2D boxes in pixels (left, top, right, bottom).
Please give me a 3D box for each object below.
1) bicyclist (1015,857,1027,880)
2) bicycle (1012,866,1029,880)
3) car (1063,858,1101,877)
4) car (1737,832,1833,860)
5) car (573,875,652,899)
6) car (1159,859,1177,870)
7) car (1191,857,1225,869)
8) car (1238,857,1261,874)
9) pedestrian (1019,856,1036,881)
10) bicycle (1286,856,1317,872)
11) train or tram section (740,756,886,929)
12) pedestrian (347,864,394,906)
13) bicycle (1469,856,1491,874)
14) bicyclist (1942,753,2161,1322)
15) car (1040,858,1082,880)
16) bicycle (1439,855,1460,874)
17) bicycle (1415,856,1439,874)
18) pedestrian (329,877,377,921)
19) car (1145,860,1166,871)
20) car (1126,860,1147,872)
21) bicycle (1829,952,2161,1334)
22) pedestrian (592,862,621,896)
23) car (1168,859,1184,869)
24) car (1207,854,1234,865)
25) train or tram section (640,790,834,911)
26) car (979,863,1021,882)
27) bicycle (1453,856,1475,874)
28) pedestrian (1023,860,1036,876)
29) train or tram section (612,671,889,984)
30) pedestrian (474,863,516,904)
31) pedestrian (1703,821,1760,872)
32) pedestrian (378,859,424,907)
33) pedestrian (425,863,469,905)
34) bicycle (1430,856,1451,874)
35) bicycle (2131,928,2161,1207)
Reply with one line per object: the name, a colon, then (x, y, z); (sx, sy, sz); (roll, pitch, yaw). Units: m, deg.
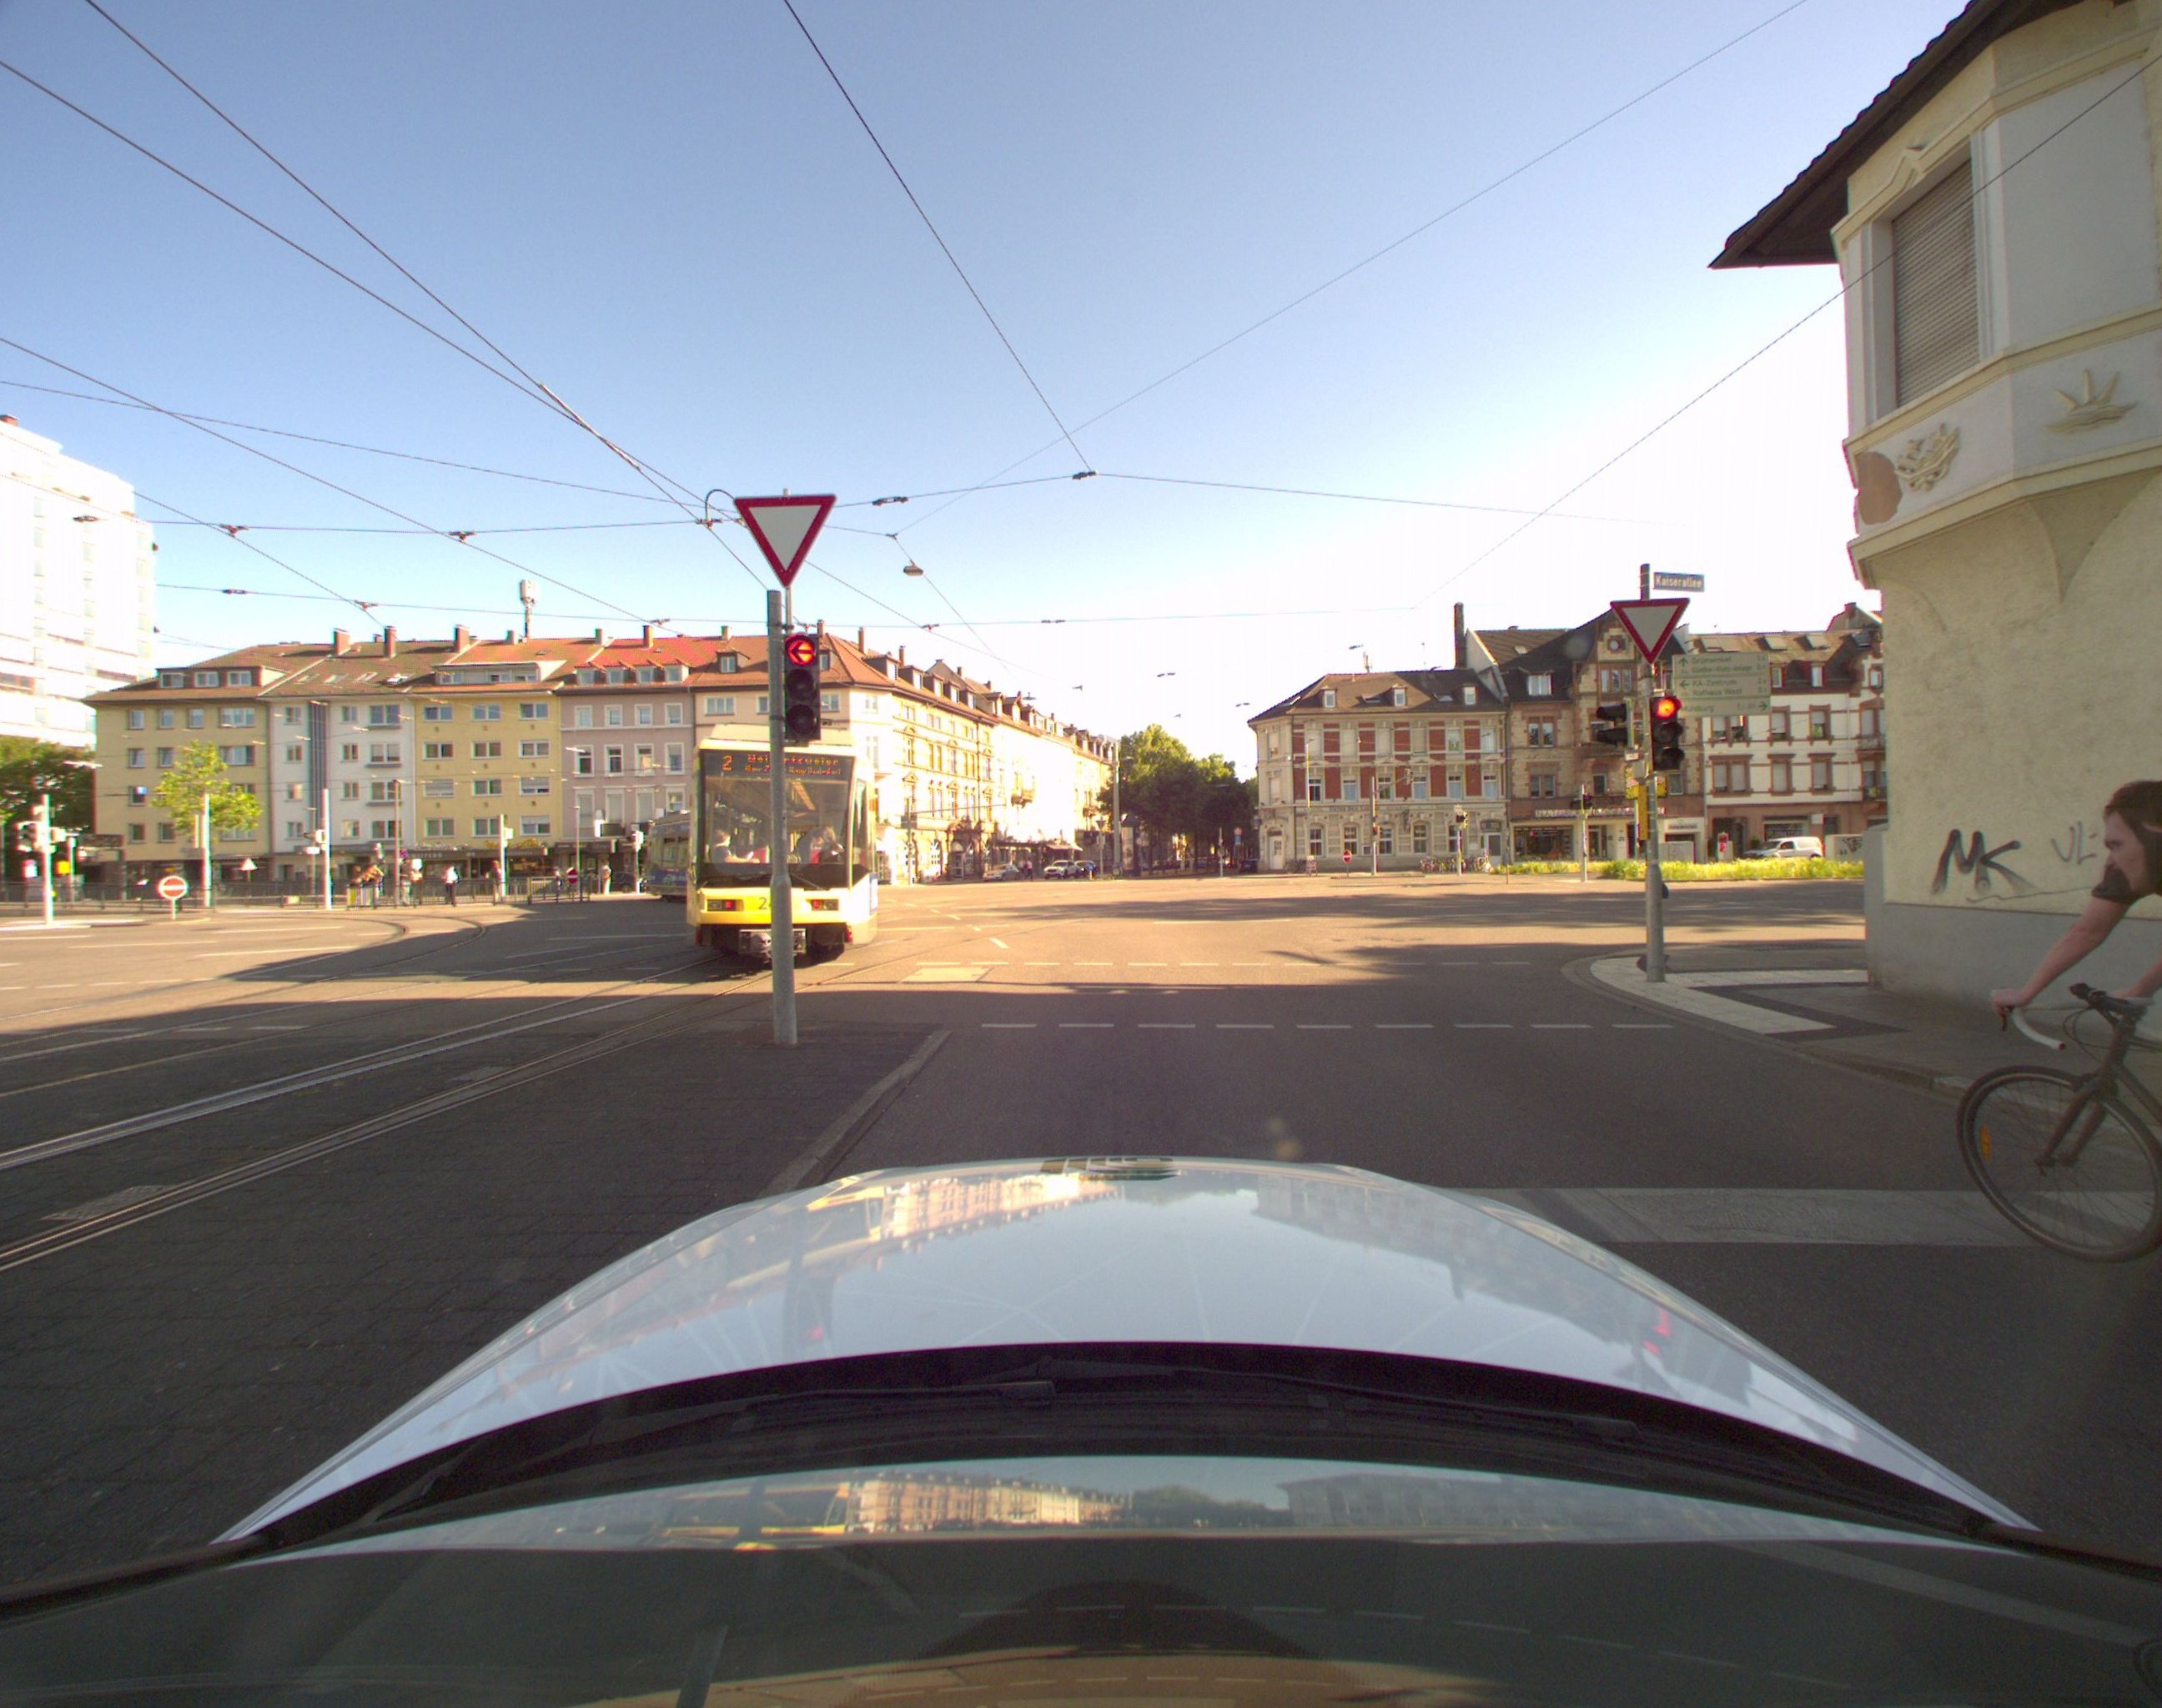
bicyclist: (-4.809, 1.132, 65.329); (0.674, 1.820, 1.075); (-2, 0, 14)
bicycle: (-4.813, 1.512, 65.286); (0.675, 1.066, 2.133); (-2, 0, 14)
car: (0.121, 1.217, 74.006); (1.977, 1.612, 4.413); (-2, 0, 20)
car: (45.361, -0.485, 52.543); (4.317, 1.640, 2.152); (-2, 0, 1)
car: (-30.617, 2.144, 53.328); (3.974, 1.453, 2.000); (-1, 0, -1)
car: (13.920, 1.698, 130.322); (1.822, 1.552, 4.412); (-2, 0, 19)
car: (17.978, 1.306, 115.238); (4.335, 1.612, 2.012); (-2, 0, 28)
car: (17.020, 1.138, 82.205); (1.978, 1.585, 4.017); (-2, 0, 16)
pedestrian: (-3.770, 1.004, 57.714); (1.047, 1.744, 0.805); (-1, 0, -14)
bicycle: (15.502, 0.722, 57.179); (2.081, 1.124, 0.366); (0, -1, -3)
train or tram section: (-7.051, -0.236, 20.943); (2.825, 3.499, 8.401); (-1, 0, -21)
pedestrian: (-27.689, 1.191, 31.754); (0.938, 1.598, 1.006); (-1, 0, -11)
bicycle: (25.758, 0.687, 52.588); (0.606, 1.136, 2.139); (-2, 0, 7)
bicyclist: (3.599, 0.561, 2.583); (0.559, 1.754, 1.102); (-2, 0, 4)
car: (-1.604, 1.251, 67.529); (1.977, 1.684, 4.413); (-2, 0, 20)
bicycle: (23.860, 0.670, 52.774); (0.615, 1.143, 2.178); (-2, 0, 7)
bicycle: (22.503, 0.699, 52.976); (0.802, 1.143, 2.178); (-2, 0, 7)
pedestrian: (-27.477, 1.675, 30.774); (0.938, 1.598, 1.006); (-1, 0, -10)
car: (11.262, 1.729, 122.590); (1.977, 1.612, 4.413); (-2, 0, 20)
car: (7.540, 1.667, 110.971); (1.978, 1.486, 4.017); (-1, 0, 16)
bicycle: (3.614, 0.949, 2.660); (0.642, 1.010, 1.930); (-2, 0, 4)
pedestrian: (-24.710, 1.299, 42.429); (0.935, 1.756, 0.935); (-2, 0, 1)
car: (15.838, 1.718, 136.157); (1.750, 1.549, 4.411); (-2, 0, 18)
car: (22.839, 0.967, 133.292); (3.948, 1.706, 2.013); (-2, 0, 32)
train or tram section: (-12.663, -0.031, 28.987); (2.794, 3.500, 11.887); (-1, 0, -41)
car: (-6.679, 1.522, 67.372); (1.883, 1.455, 4.020); (-2, 0, 20)
bicycle: (24.781, 0.708, 52.679); (0.615, 1.143, 2.178); (-2, 0, 7)
pedestrian: (-5.162, 1.366, 81.471); (0.921, 1.535, 1.142); (-1, 0, 16)
train or tram section: (-4.691, -0.321, 13.307); (2.817, 3.499, 7.927); (-1, 0, -13)
pedestrian: (-23.238, 1.167, 32.296); (0.997, 1.598, 0.947); (-2, 0, 24)
pedestrian: (27.115, -0.309, 33.989); (1.314, 2.044, 1.307); (-2, 0, 1)
pedestrian: (-26.036, 1.101, 31.188); (0.939, 1.775, 1.006); (-1, 0, -11)
pedestrian: (-25.302, 1.185, 32.507); (0.998, 1.598, 0.946); (-2, 0, 18)
bicycle: (23.281, 0.689, 52.827); (0.615, 1.143, 2.178); (-2, 0, 7)
bicycle: (4.534, 0.858, 2.435); (0.516, 1.116, 1.815); (-2, 0, 4)
